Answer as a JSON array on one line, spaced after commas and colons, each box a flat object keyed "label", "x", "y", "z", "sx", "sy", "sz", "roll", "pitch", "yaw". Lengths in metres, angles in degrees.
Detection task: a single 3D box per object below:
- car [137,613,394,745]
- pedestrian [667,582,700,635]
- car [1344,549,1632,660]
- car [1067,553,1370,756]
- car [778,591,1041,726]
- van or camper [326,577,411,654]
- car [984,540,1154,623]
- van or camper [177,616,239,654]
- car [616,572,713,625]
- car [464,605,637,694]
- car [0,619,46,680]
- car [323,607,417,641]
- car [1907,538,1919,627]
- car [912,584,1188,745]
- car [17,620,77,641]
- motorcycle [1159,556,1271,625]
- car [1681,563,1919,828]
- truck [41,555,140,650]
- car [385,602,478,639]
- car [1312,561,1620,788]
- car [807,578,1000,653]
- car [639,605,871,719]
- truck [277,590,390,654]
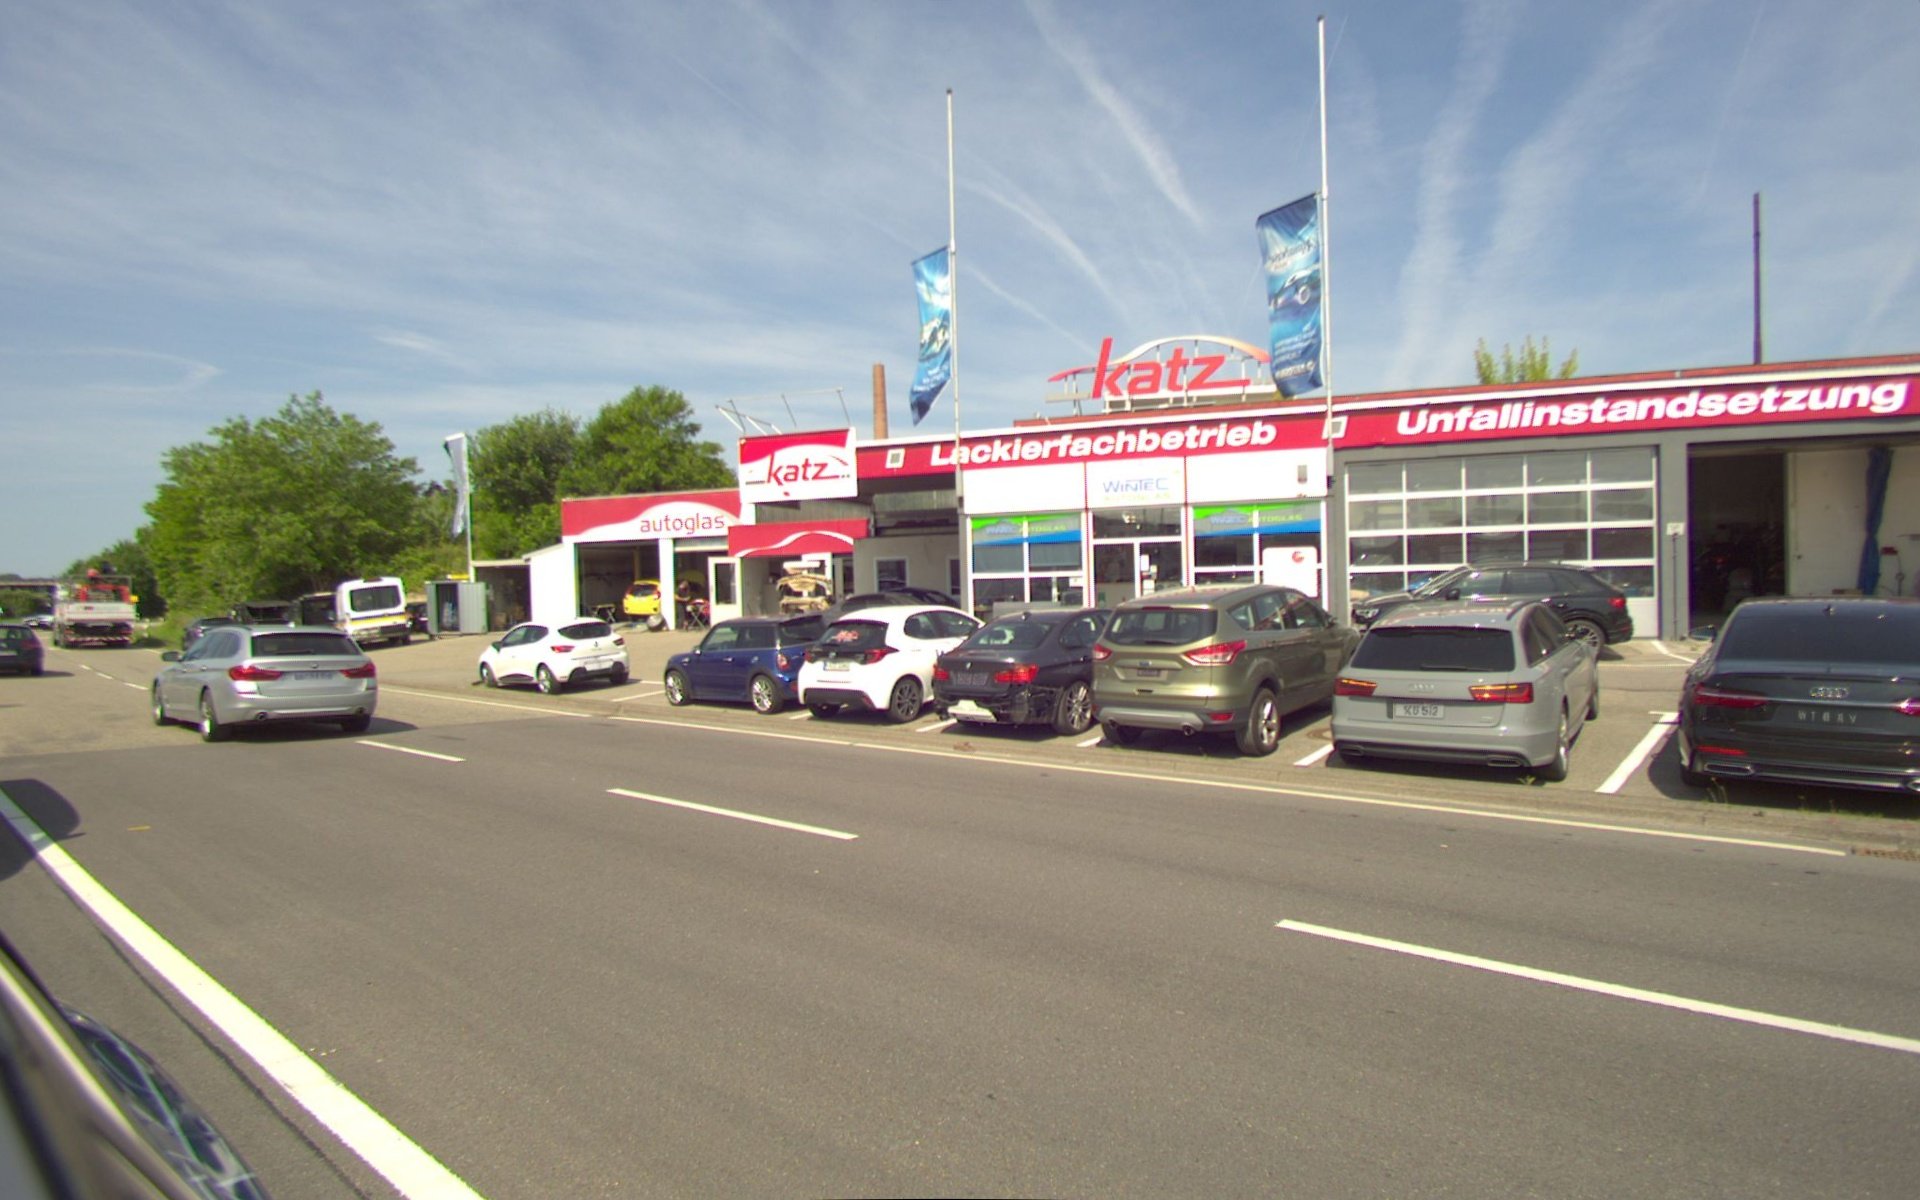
[{"label": "car", "x": -9.942, "y": 0.990, "z": 14.319, "sx": 4.779, "sy": 1.533, "sz": 1.889, "roll": -1, "pitch": -1, "yaw": 41}, {"label": "pedestrian", "x": -9.487, "y": 0.271, "z": 34.711, "sx": 0.895, "sy": 1.775, "sz": 0.714, "roll": 0, "pitch": 1, "yaw": 44}, {"label": "car", "x": 8.989, "y": 0.037, "z": 17.630, "sx": 4.089, "sy": 1.686, "sz": 1.819, "roll": 0, "pitch": 5, "yaw": 15}, {"label": "car", "x": 3.064, "y": 0.450, "z": 11.425, "sx": 1.805, "sy": 1.729, "sz": 3.848, "roll": -1, "pitch": 3, "yaw": 39}, {"label": "car", "x": -0.625, "y": 0.757, "z": 15.032, "sx": 1.844, "sy": 1.536, "sz": 3.760, "roll": -2, "pitch": 3, "yaw": 38}, {"label": "van or camper", "x": -22.287, "y": 0.532, "z": 37.989, "sx": 2.126, "sy": 2.517, "sz": 5.965, "roll": -5, "pitch": 3, "yaw": -35}, {"label": "car", "x": 2.586, "y": -0.445, "z": 23.812, "sx": 3.727, "sy": 1.772, "sz": 1.696, "roll": -2, "pitch": 3, "yaw": 16}, {"label": "van or camper", "x": -33.830, "y": 1.545, "z": 45.500, "sx": 1.621, "sy": 1.535, "sz": 4.470, "roll": -2, "pitch": 1, "yaw": -44}, {"label": "car", "x": -11.153, "y": -0.091, "z": 38.498, "sx": 1.725, "sy": 1.738, "sz": 3.650, "roll": -1, "pitch": 3, "yaw": 18}, {"label": "car", "x": -8.595, "y": 0.960, "z": 21.084, "sx": 3.999, "sy": 1.630, "sz": 1.760, "roll": -1, "pitch": 0, "yaw": 42}, {"label": "car", "x": -26.580, "y": 1.337, "z": 27.817, "sx": 4.387, "sy": 1.571, "sz": 1.786, "roll": -2, "pitch": -1, "yaw": 43}, {"label": "car", "x": -29.213, "y": 1.169, "z": 50.194, "sx": 1.711, "sy": 1.522, "sz": 3.631, "roll": -1, "pitch": 0, "yaw": 32}, {"label": "car", "x": 19.775, "y": -0.368, "z": 17.898, "sx": 3.996, "sy": 1.685, "sz": 1.894, "roll": -1, "pitch": -1, "yaw": 28}, {"label": "car", "x": 1.285, "y": 0.698, "z": 13.043, "sx": 1.790, "sy": 1.536, "sz": 3.673, "roll": -2, "pitch": 3, "yaw": 38}, {"label": "car", "x": -72.896, "y": 2.412, "z": 80.896, "sx": 1.781, "sy": 1.571, "sz": 4.399, "roll": -1, "pitch": -1, "yaw": -15}, {"label": "motorcycle", "x": 4.966, "y": -0.169, "z": 19.709, "sx": 2.039, "sy": 1.271, "sz": 0.767, "roll": -1, "pitch": -1, "yaw": 20}, {"label": "car", "x": 7.262, "y": 0.573, "z": 8.358, "sx": 1.797, "sy": 1.495, "sz": 4.256, "roll": -1, "pitch": 3, "yaw": 40}, {"label": "truck", "x": -43.117, "y": 0.267, "z": 50.039, "sx": 2.922, "sy": 4.241, "sz": 10.652, "roll": 2, "pitch": -2, "yaw": -45}, {"label": "car", "x": -24.253, "y": 0.909, "z": 46.587, "sx": 1.725, "sy": 1.541, "sz": 3.650, "roll": -1, "pitch": 0, "yaw": 18}, {"label": "car", "x": 5.053, "y": 0.512, "z": 9.764, "sx": 1.834, "sy": 1.495, "sz": 4.237, "roll": -2, "pitch": 3, "yaw": 38}, {"label": "car", "x": -1.392, "y": 0.371, "z": 25.141, "sx": 4.360, "sy": 1.516, "sz": 1.849, "roll": -4, "pitch": 2, "yaw": 18}, {"label": "car", "x": -3.437, "y": 0.935, "z": 16.630, "sx": 3.781, "sy": 1.505, "sz": 1.761, "roll": -1, "pitch": 4, "yaw": 42}, {"label": "truck", "x": -27.380, "y": 0.925, "z": 44.017, "sx": 2.304, "sy": 2.313, "sz": 8.811, "roll": -7, "pitch": 4, "yaw": -43}]
